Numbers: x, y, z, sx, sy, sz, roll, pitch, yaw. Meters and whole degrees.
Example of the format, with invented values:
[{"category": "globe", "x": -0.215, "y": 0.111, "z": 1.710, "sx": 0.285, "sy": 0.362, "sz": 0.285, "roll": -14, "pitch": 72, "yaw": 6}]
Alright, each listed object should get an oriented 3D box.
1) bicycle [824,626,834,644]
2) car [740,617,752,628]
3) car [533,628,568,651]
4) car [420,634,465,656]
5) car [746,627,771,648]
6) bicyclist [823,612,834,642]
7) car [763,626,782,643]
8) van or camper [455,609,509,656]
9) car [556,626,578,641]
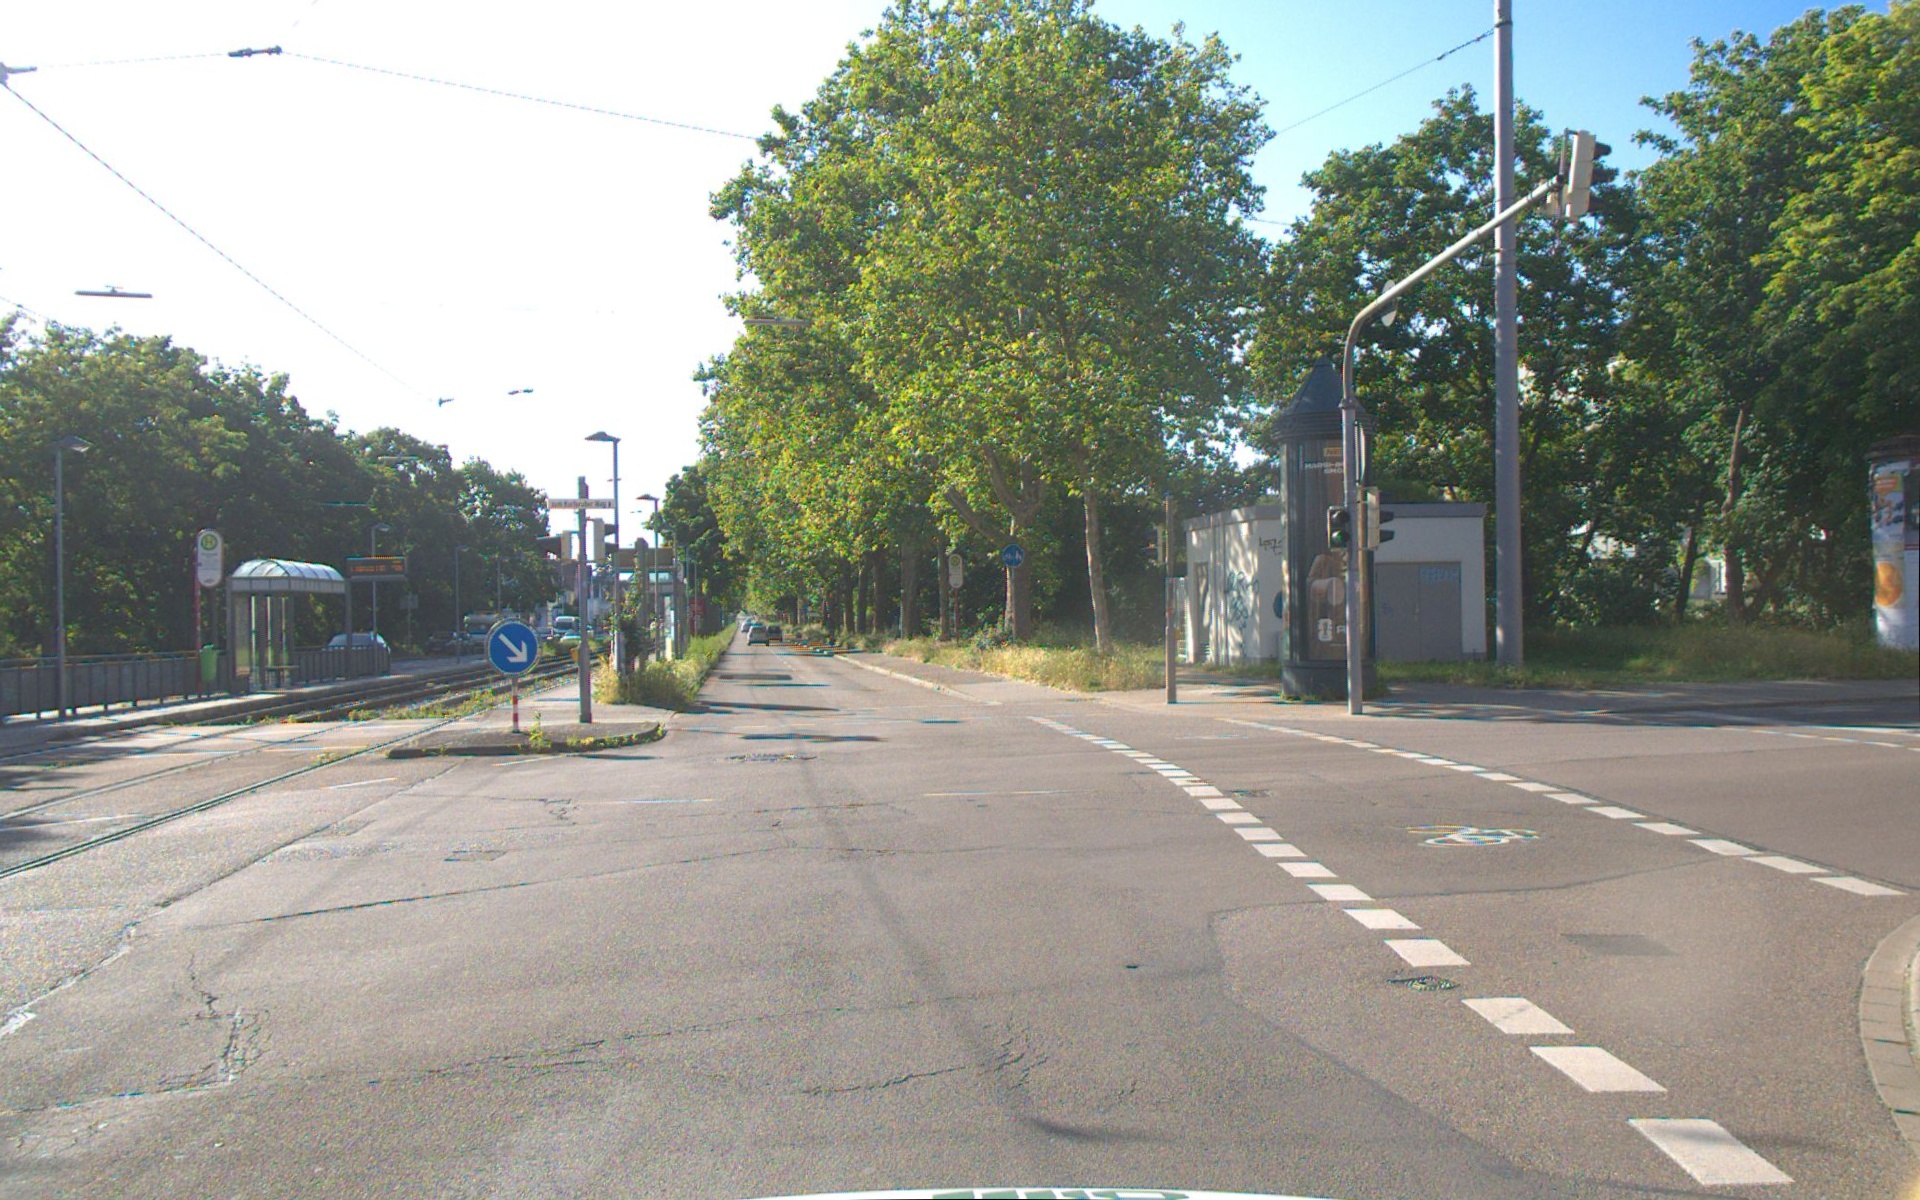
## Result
[{"category": "bicycle", "x": -7.997, "y": 2.134, "z": 100.901, "sx": 0.526, "sy": 1.085, "sz": 1.430, "roll": -1, "pitch": -1, "yaw": -9}, {"category": "car", "x": -32.055, "y": 3.331, "z": 247.526, "sx": 1.718, "sy": 1.632, "sz": 3.573, "roll": -1, "pitch": -1, "yaw": -8}, {"category": "car", "x": -28.711, "y": 2.765, "z": 116.039, "sx": 1.957, "sy": 1.495, "sz": 4.367, "roll": -1, "pitch": -1, "yaw": -9}, {"category": "car", "x": -32.139, "y": 2.794, "z": 102.736, "sx": 1.884, "sy": 1.288, "sz": 3.995, "roll": -1, "pitch": -1, "yaw": -6}, {"category": "car", "x": -14.958, "y": 2.784, "z": 122.722, "sx": 1.832, "sy": 1.512, "sz": 3.549, "roll": 0, "pitch": -1, "yaw": -7}, {"category": "bicyclist", "x": -8.025, "y": 1.627, "z": 100.926, "sx": 0.524, "sy": 1.801, "sz": 0.711, "roll": -1, "pitch": -1, "yaw": -10}, {"category": "car", "x": -17.484, "y": 3.210, "z": 154.394, "sx": 1.717, "sy": 1.632, "sz": 3.743, "roll": 0, "pitch": -1, "yaw": -7}, {"category": "van or camper", "x": -33.276, "y": 2.255, "z": 115.344, "sx": 2.541, "sy": 3.160, "sz": 6.776, "roll": -1, "pitch": -1, "yaw": -8}, {"category": "car", "x": -40.568, "y": 3.467, "z": 170.907, "sx": 1.711, "sy": 1.522, "sz": 3.587, "roll": -1, "pitch": -1, "yaw": -6}]
